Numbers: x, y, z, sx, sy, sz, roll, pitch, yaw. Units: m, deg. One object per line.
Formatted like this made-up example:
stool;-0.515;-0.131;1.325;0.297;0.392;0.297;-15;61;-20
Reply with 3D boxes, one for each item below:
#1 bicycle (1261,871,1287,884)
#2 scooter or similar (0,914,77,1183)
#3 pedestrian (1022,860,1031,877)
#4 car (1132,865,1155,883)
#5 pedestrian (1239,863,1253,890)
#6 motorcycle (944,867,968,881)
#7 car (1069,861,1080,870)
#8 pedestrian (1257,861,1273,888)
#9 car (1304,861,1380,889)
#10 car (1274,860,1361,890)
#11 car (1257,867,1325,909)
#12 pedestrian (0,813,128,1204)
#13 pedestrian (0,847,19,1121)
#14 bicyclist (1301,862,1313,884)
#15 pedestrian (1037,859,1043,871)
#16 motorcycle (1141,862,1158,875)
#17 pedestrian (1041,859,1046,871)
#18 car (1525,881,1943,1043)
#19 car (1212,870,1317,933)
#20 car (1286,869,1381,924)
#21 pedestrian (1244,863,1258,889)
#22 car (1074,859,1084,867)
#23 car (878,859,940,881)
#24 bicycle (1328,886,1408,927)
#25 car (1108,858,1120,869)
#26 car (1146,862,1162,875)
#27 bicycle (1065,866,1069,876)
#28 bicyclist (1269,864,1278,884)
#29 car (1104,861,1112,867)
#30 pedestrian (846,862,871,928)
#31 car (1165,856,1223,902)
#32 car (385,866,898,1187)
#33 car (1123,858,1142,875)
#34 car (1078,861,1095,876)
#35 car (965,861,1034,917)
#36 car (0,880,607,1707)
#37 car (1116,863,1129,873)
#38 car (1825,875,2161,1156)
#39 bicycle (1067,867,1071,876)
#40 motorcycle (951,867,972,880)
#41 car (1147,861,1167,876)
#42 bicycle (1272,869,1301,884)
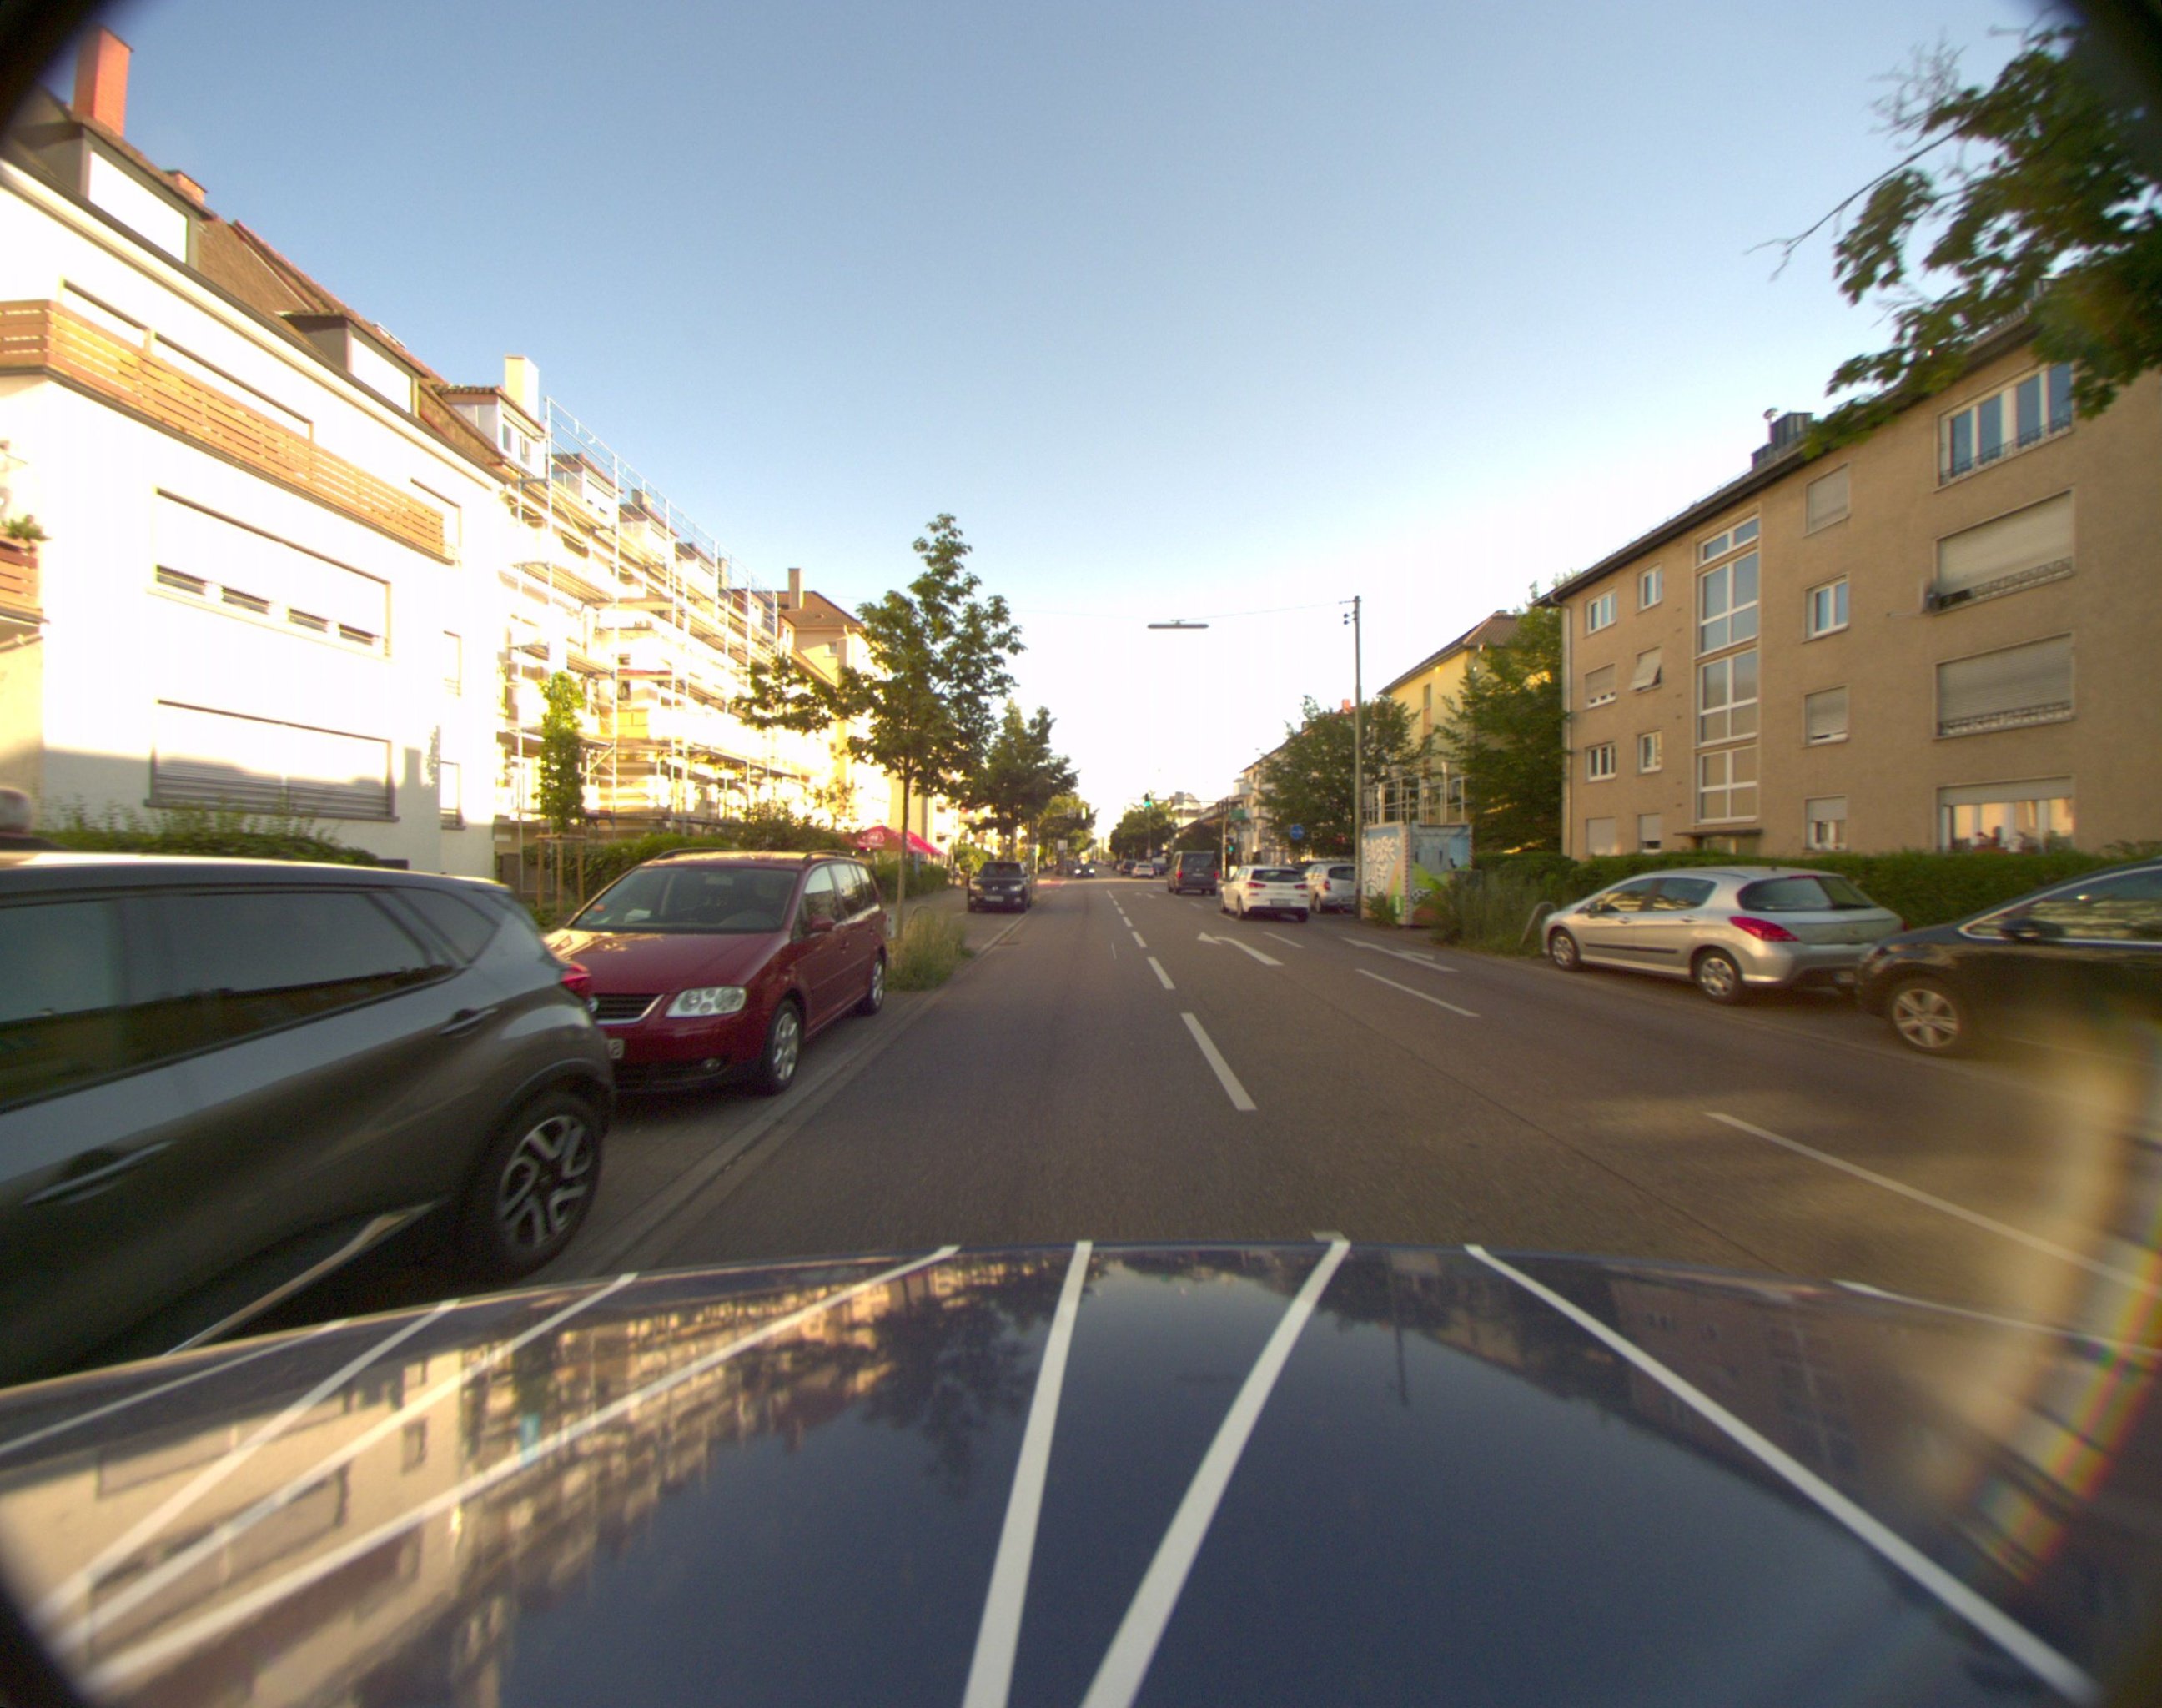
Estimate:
bicycle;15.803;1.916;62.277;1.996;1.082;0.729;0;-1;10
scooter or similar;-5.728;0.974;3.707;0.748;1.309;0.721;0;0;7
pedestrian;-5.500;1.494;76.332;0.830;1.673;0.660;1;0;5
car;5.729;1.814;70.083;1.841;1.465;4.672;2;0;1
pedestrian;10.251;1.392;47.144;0.608;1.585;0.750;-3;1;-2
motorcycle;-10.599;1.711;64.577;1.992;1.193;0.774;0;0;-12
car;-1.125;2.024;129.700;1.744;1.508;3.811;0;0;3
pedestrian;11.671;1.298;48.182;0.607;1.620;0.751;-3;1;37
car;17.669;1.408;51.563;4.483;1.837;1.908;0;0;0
car;14.113;1.251;45.538;4.603;1.604;1.843;-1;0;-2
car;8.002;1.265;29.262;1.657;1.470;3.944;0;0;2
pedestrian;-5.351;0.726;3.661;0.549;1.838;0.765;0;0;7
pedestrian;-6.896;0.799;4.483;0.512;1.687;0.527;0;0;-4
bicyclist;17.302;1.442;58.134;0.608;1.711;0.750;0;-1;-5
pedestrian;-5.761;1.588;105.914;0.659;1.673;0.832;1;0;6
motorcycle;8.674;1.827;96.196;1.263;1.526;2.888;0;0;-13
pedestrian;-5.351;1.620;108.148;0.659;1.673;0.832;1;0;6
car;7.735;1.147;9.665;1.687;1.512;4.191;0;0;-1
car;4.983;1.245;21.222;1.820;1.438;4.110;3;0;-1
car;7.928;1.286;24.205;1.641;1.543;3.785;0;0;-2
pedestrian;10.923;1.415;48.809;0.750;1.647;0.608;0;0;-6
car;-0.347;1.804;150.490;1.744;1.508;3.811;0;0;3
car;-14.680;1.367;65.028;4.842;1.855;1.952;0;1;-2
bicycle;8.093;1.481;21.502;2.010;1.083;0.583;-2;0;2
car;5.552;1.634;128.950;1.842;1.865;4.409;0;0;0
car;8.782;1.723;91.655;1.755;1.526;3.572;0;0;2
bicycle;-1.514;1.845;82.838;0.325;1.138;1.800;0;0;-4
bicyclist;15.773;1.620;62.284;0.672;1.643;0.751;0;-1;11
car;8.082;3.038;228.015;1.843;1.604;4.407;0;0;-7
pedestrian;-5.390;0.983;18.379;0.558;1.558;0.747;0;0;-17
car;5.267;1.130;36.089;1.998;1.934;4.778;2;0;0
car;-2.864;0.942;6.309;1.726;1.646;4.597;0;0;-2
car;5.838;1.408;85.911;1.866;1.819;5.228;2;0;2
car;0.548;1.489;78.667;1.641;1.481;4.416;1;0;0
car;-2.536;1.045;24.445;1.796;1.622;4.029;1;0;0
car;-2.879;0.891;1.234;1.641;1.559;4.000;1;0;1
car;6.171;2.066;113.328;1.845;1.312;4.442;1;0;2
car;7.679;1.040;4.654;1.788;1.722;4.618;0;0;1
bicycle;-1.327;1.959;85.521;0.325;0.981;1.191;0;0;5
motorcycle;-10.351;1.647;65.640;1.698;1.105;0.594;0;0;1
car;8.699;1.630;87.066;1.810;1.604;3.951;0;0;-2
bicycle;15.926;1.771;58.869;1.999;1.159;0.728;0;-1;-5
